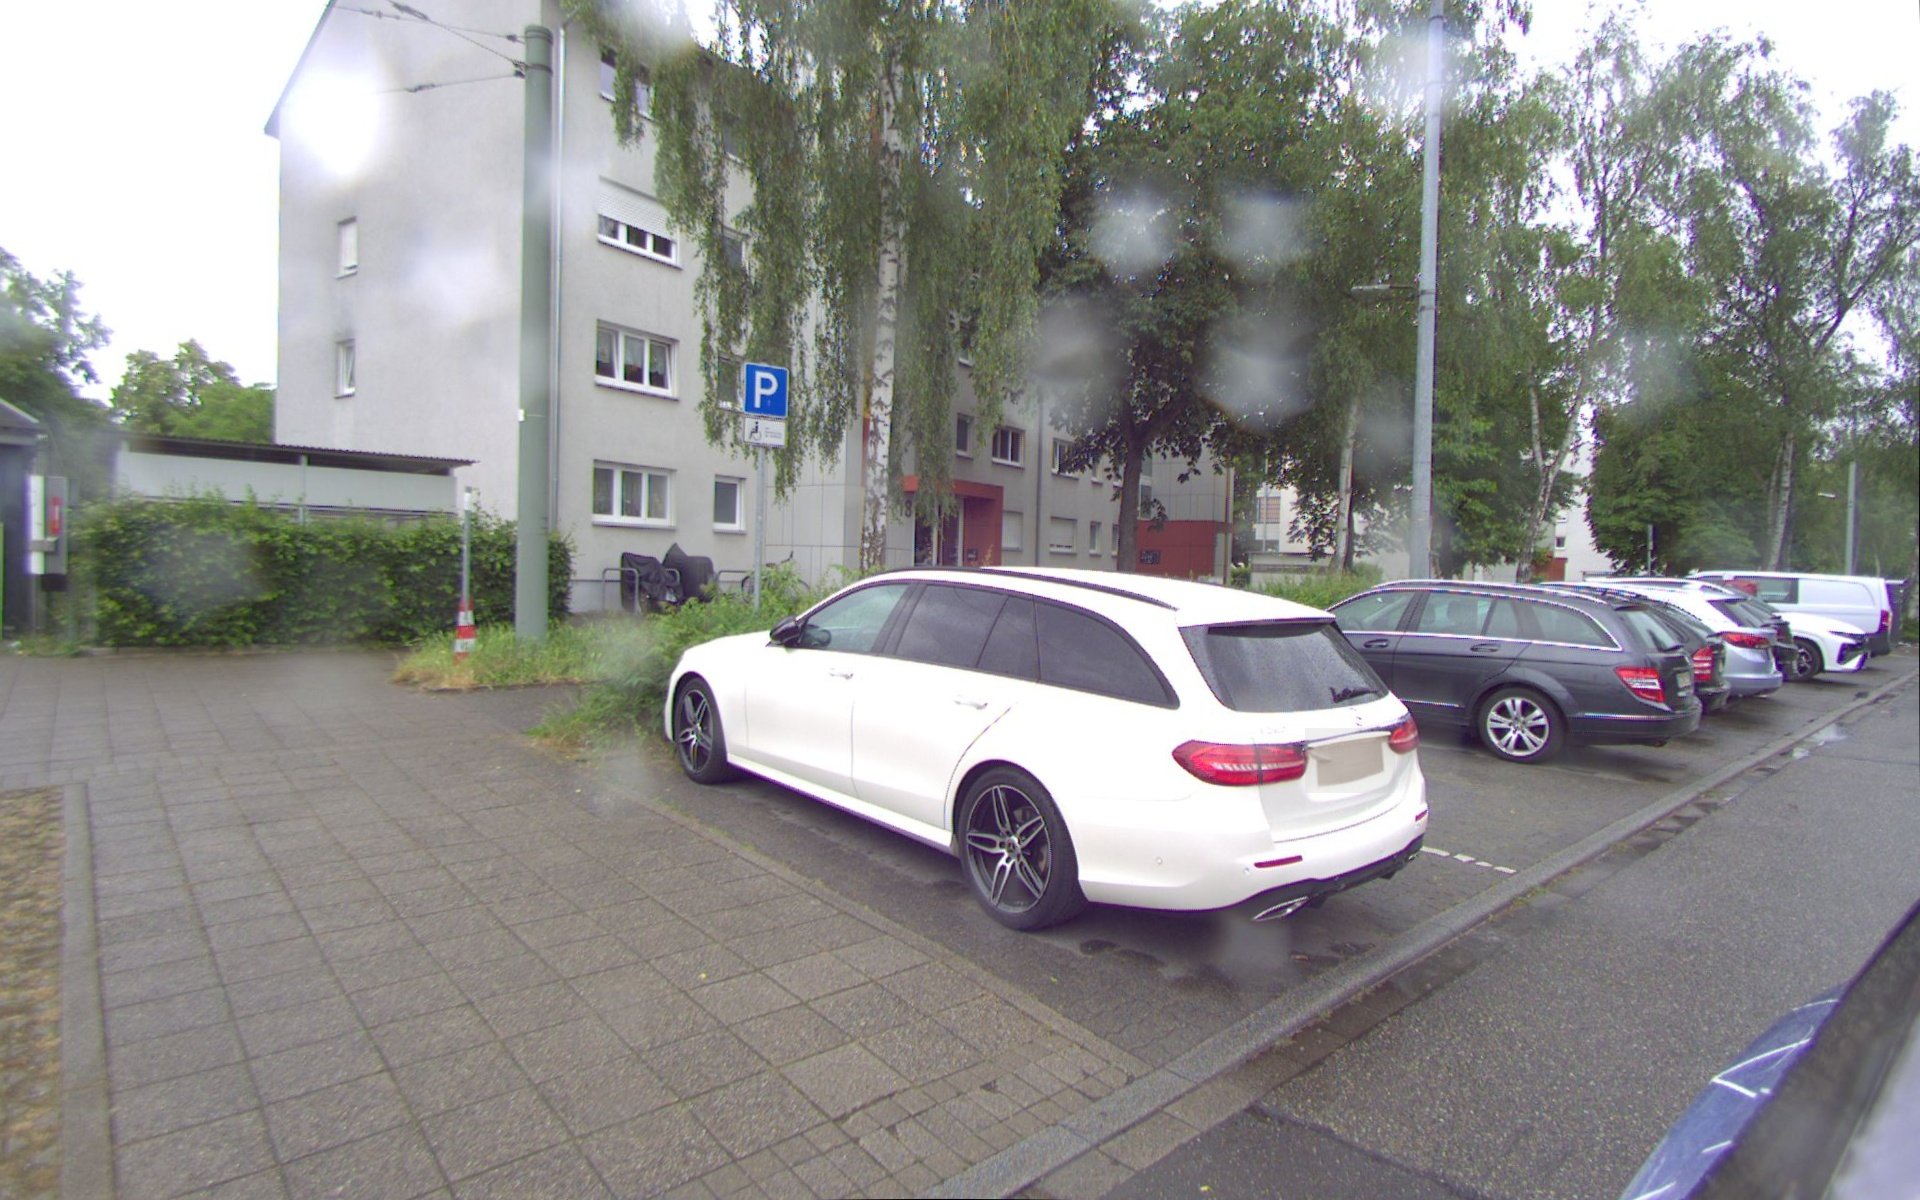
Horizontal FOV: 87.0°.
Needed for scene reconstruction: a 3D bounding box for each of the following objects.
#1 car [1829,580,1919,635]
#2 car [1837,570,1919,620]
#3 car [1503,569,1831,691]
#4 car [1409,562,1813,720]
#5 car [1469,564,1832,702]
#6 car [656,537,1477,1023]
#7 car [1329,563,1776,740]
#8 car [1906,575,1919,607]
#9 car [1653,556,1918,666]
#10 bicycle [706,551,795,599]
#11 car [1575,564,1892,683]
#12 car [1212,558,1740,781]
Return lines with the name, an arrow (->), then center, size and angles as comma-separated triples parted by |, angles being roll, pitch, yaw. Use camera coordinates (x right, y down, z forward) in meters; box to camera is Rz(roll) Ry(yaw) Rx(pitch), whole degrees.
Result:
car -> 34.462, 0.260, 36.836 | 1.866, 1.937, 3.998 | -1, 1, -36
car -> 37.793, -0.201, 40.309 | 1.866, 1.937, 3.998 | -1, 1, -36
car -> 11.293, 0.368, 16.386 | 1.653, 1.514, 4.044 | -1, 5, -43
car -> 8.210, 0.376, 13.044 | 1.653, 1.514, 4.044 | -1, 5, -43
car -> 9.867, 0.347, 14.702 | 1.653, 1.514, 4.044 | -1, 5, -43
car -> 0.083, 0.480, 5.607 | 1.651, 1.456, 4.623 | -1, 5, -41
car -> 6.552, 0.424, 11.543 | 1.653, 1.456, 4.044 | -1, 5, -43
car -> 53.221, -0.503, 53.816 | 1.866, 1.701, 3.998 | -1, 1, -36
car -> 17.544, 0.139, 21.671 | 4.172, 1.888, 1.654 | 7, 6, 43
bicycle -> -4.522, -0.527, 21.975 | 0.701, 1.005, 1.918 | 0, 0, 37
car -> 13.704, 0.308, 18.164 | 1.651, 1.637, 4.181 | 0, 5, -40
car -> 4.599, 0.443, 9.490 | 1.653, 1.456, 4.044 | -1, 5, -43
